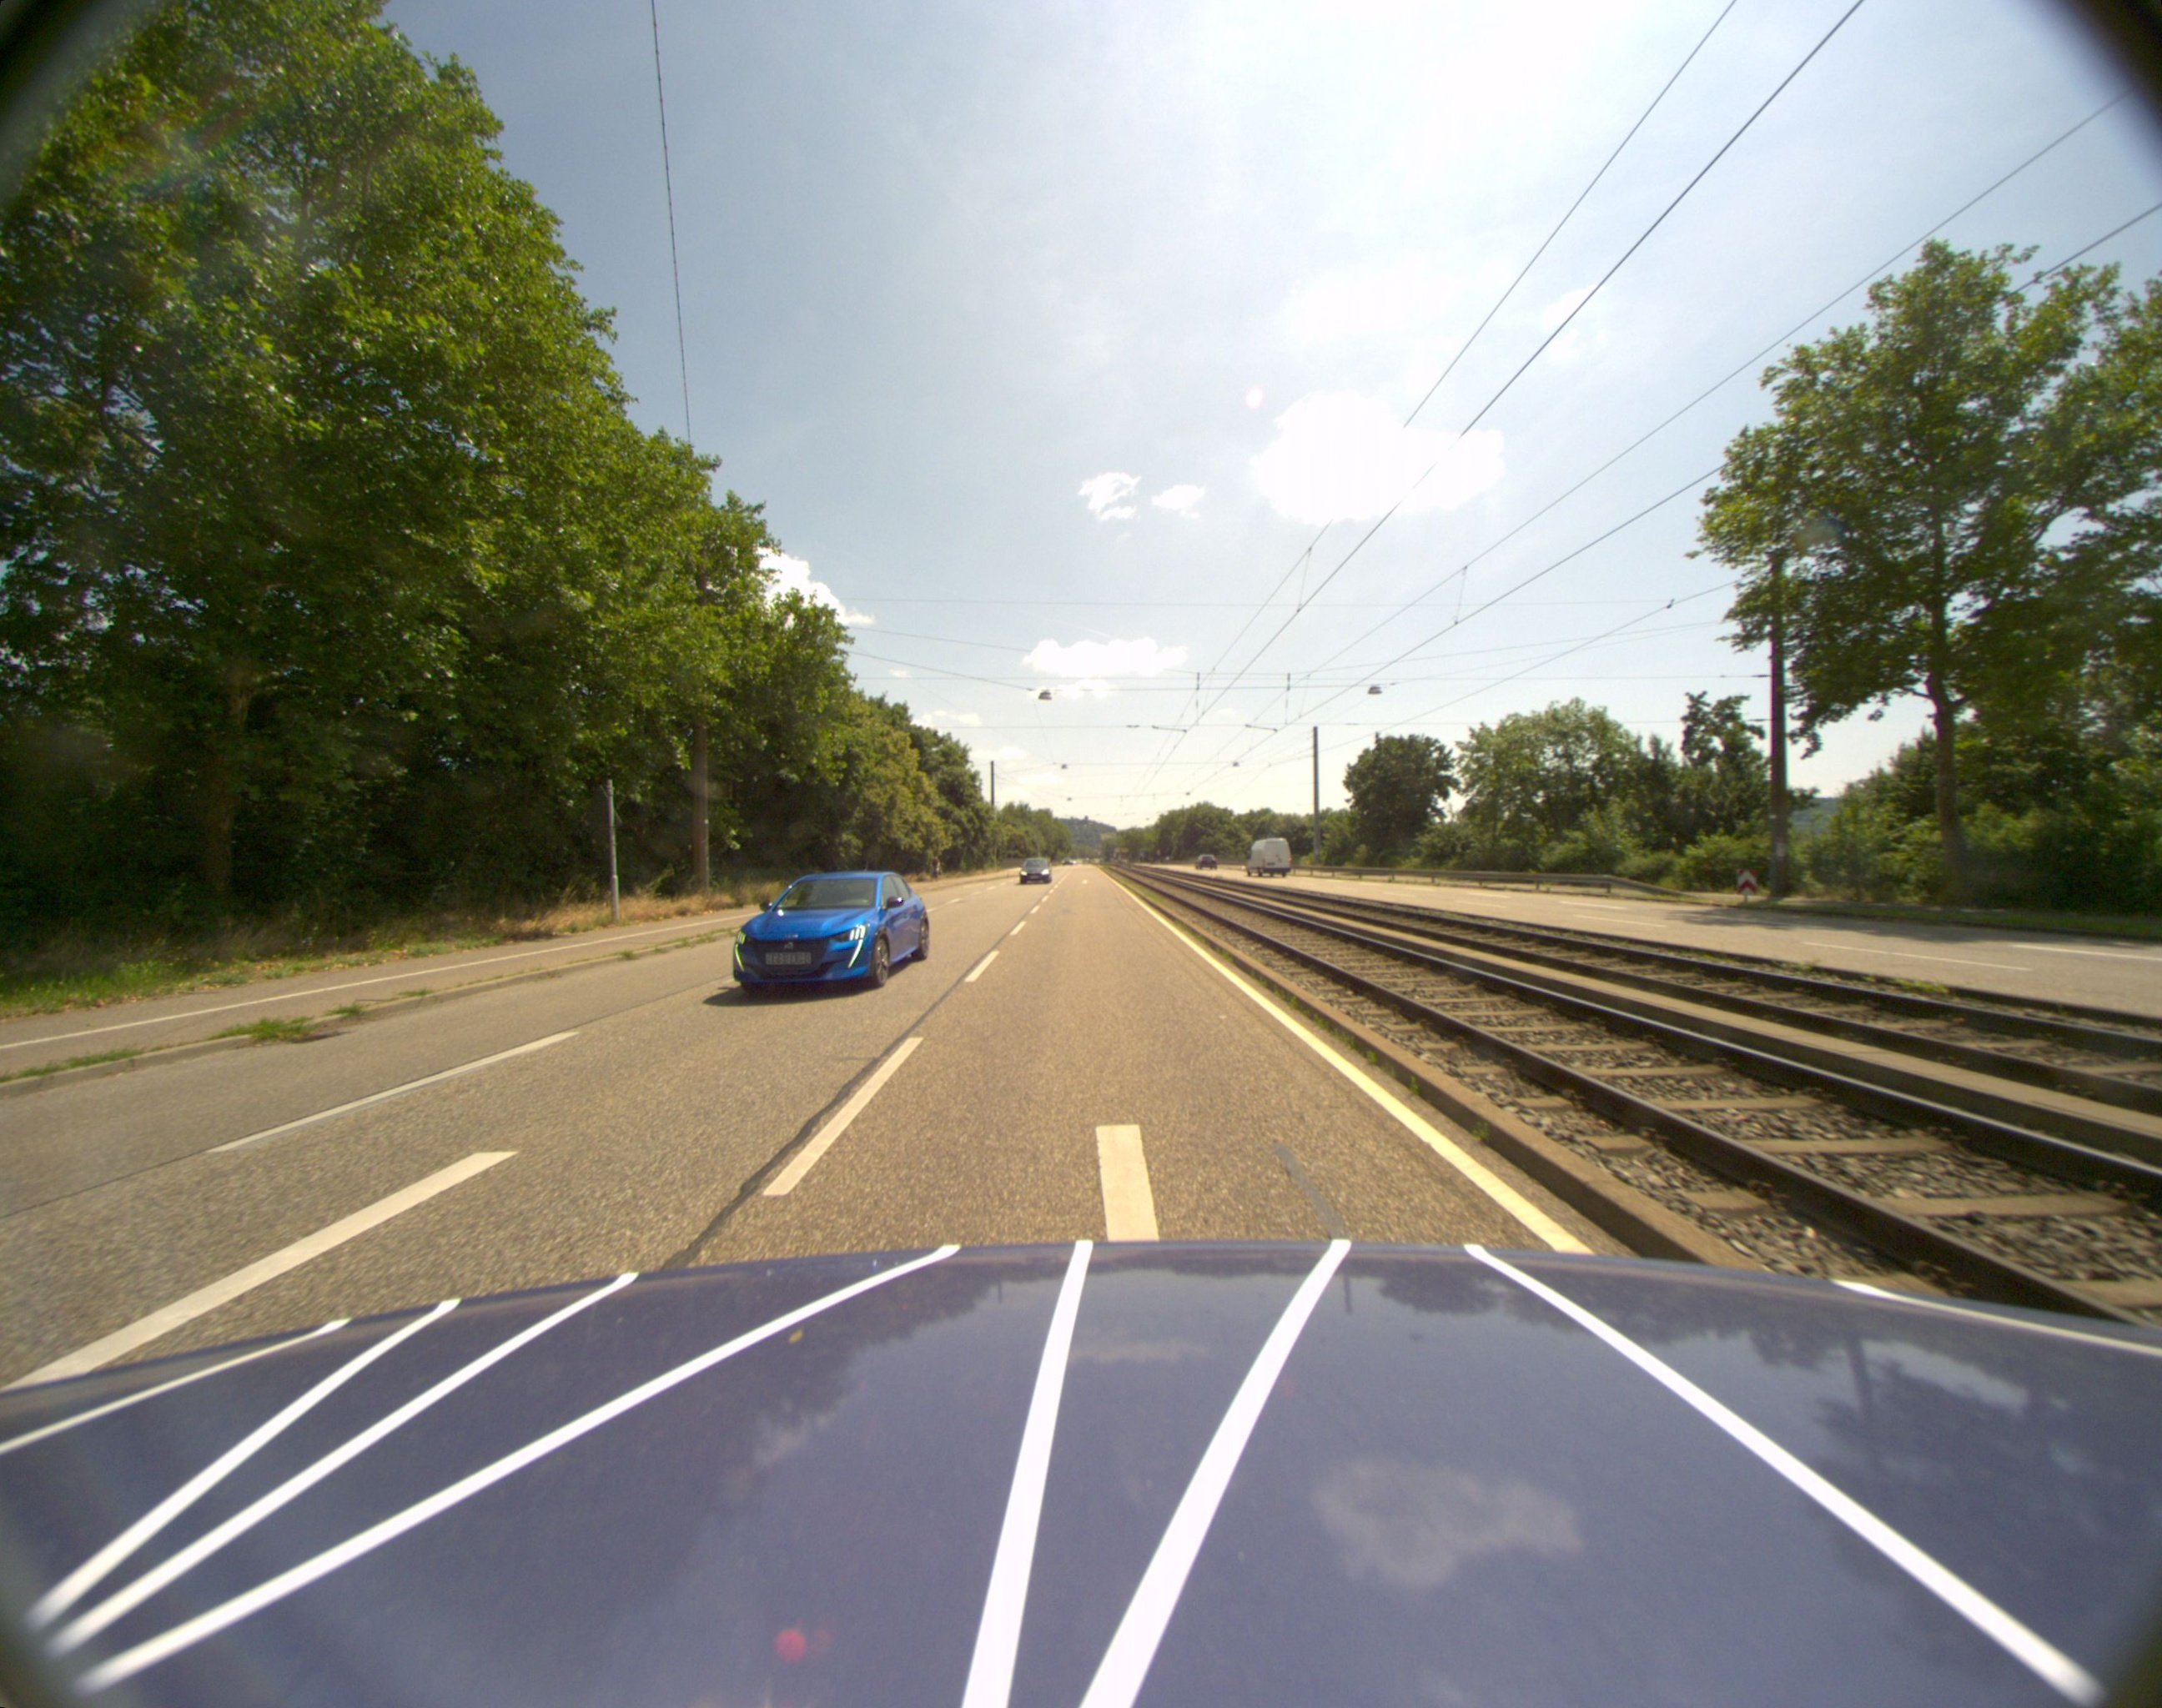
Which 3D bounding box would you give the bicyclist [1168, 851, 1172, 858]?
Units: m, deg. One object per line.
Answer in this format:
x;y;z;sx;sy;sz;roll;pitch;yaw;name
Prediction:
19.475;0.087;166.146;0.765;1.612;0.838;-2;1;0;bicyclist

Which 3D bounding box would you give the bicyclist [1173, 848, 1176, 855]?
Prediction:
19.093;-0.450;154.784;0.522;1.488;0.530;-2;0;0;bicyclist

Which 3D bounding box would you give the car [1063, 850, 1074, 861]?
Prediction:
-2.426;0.306;146.597;1.999;2.002;3.999;-1;0;-1;car

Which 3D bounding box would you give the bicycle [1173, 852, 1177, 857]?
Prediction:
19.119;0.094;154.751;0.524;0.838;2.036;-3;0;-1;bicycle

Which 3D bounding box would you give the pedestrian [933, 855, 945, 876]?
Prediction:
-9.503;0.768;50.846;0.629;1.366;1.050;-1;1;1;pedestrian

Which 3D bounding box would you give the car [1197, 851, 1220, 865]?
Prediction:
13.849;0.426;82.713;1.822;1.505;4.427;0;0;0;car

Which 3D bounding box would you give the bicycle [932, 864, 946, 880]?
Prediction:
-9.498;1.182;50.920;0.561;1.018;1.847;-1;1;1;bicycle

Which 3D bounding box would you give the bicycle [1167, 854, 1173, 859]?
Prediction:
19.487;0.563;166.307;0.859;1.178;2.062;-2;0;0;bicycle

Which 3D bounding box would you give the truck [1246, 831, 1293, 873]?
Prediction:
14.078;-0.154;57.145;2.059;2.922;6.319;0;0;0;truck

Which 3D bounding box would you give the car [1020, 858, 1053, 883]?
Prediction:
-2.695;0.998;46.503;1.769;1.359;3.743;-2;0;0;car

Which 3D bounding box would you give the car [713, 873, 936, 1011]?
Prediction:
-3.264;1.044;10.475;1.660;1.397;3.744;-2;0;2;car
